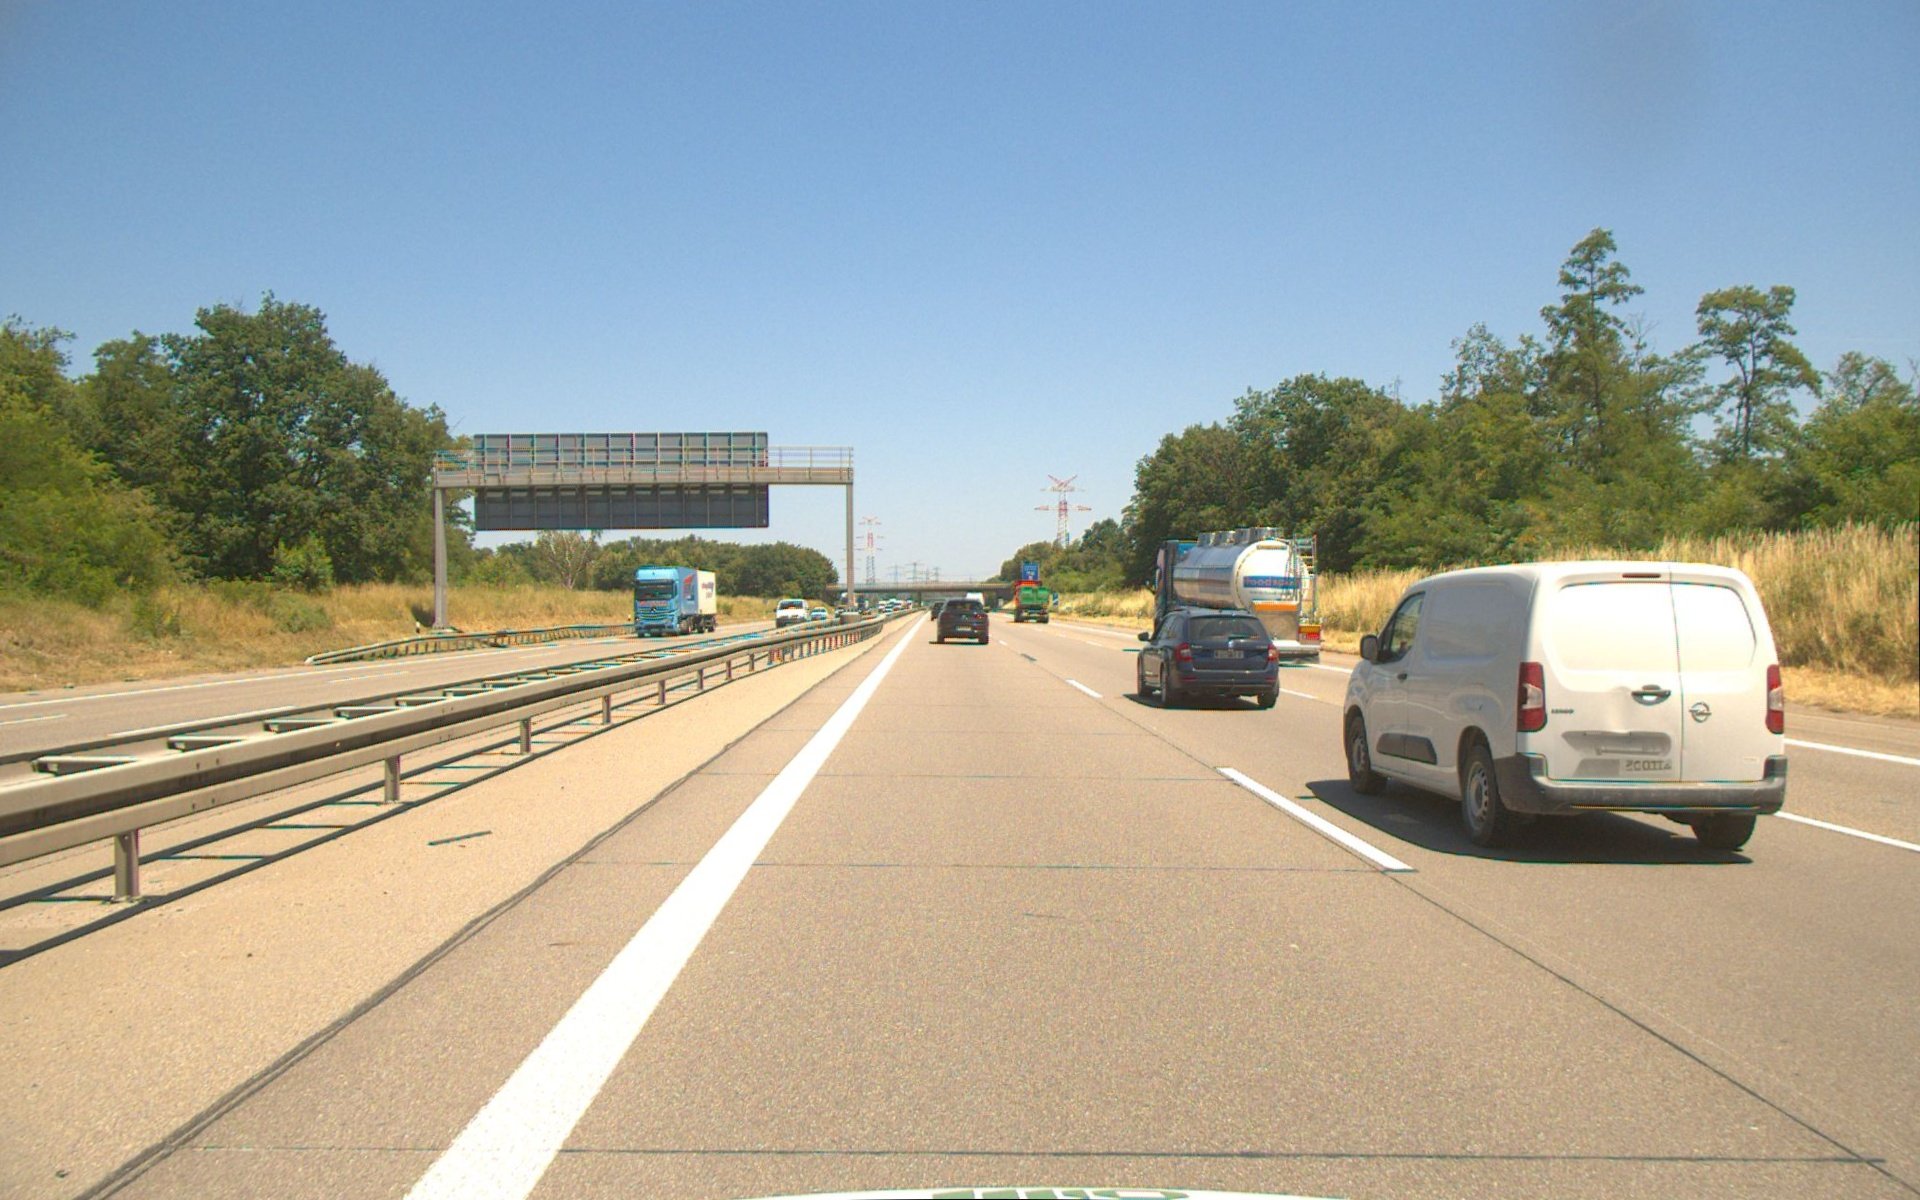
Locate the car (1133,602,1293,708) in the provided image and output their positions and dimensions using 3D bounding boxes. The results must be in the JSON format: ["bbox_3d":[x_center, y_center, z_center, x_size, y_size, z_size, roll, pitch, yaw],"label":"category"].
[{"bbox_3d":[3.900,0.801,26.153,1.765,1.509,4.270,1,0,-2],"label":"car"}]

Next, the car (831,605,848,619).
[{"bbox_3d":[-15.913,1.600,218.449,1.922,1.748,5.288,-2,0,-1],"label":"car"}]

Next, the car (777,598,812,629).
[{"bbox_3d":[-10.424,0.843,104.432,1.794,1.887,5.235,-2,0,-1],"label":"car"}]

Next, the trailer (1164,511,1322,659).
[{"bbox_3d":[8.085,-0.370,48.788,2.477,3.799,11.546,1,0,-1],"label":"trailer"}]

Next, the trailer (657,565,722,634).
[{"bbox_3d":[-18.115,-0.028,111.227,2.996,4.357,8.633,-1,0,-1],"label":"trailer"}]

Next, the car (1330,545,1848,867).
[{"bbox_3d":[4.226,0.628,12.118,1.828,1.849,4.940,1,0,-1],"label":"car"}]

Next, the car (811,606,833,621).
[{"bbox_3d":[-14.290,1.415,171.672,1.769,1.420,4.481,-2,0,2],"label":"car"}]

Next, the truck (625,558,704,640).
[{"bbox_3d":[-17.873,-0.067,100.717,2.996,4.638,10.456,-1,0,-1],"label":"truck"}]

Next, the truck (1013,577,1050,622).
[{"bbox_3d":[6.440,0.010,150.069,2.626,3.864,12.476,1,0,-1],"label":"truck"}]

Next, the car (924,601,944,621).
[{"bbox_3d":[-2.362,1.038,152.080,1.758,1.780,3.999,1,0,-1],"label":"car"}]

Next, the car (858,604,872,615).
[{"bbox_3d":[-14.376,1.482,250.284,1.922,1.552,5.288,-2,0,-1],"label":"car"}]

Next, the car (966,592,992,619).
[{"bbox_3d":[2.044,0.571,180.452,2.568,2.807,6.095,1,0,-1],"label":"car"}]

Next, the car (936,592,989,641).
[{"bbox_3d":[0.065,0.624,63.679,1.953,1.780,3.999,1,0,-1],"label":"car"}]

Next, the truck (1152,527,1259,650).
[{"bbox_3d":[8.008,-0.352,54.577,2.477,3.799,6.097,1,0,-1],"label":"truck"}]
